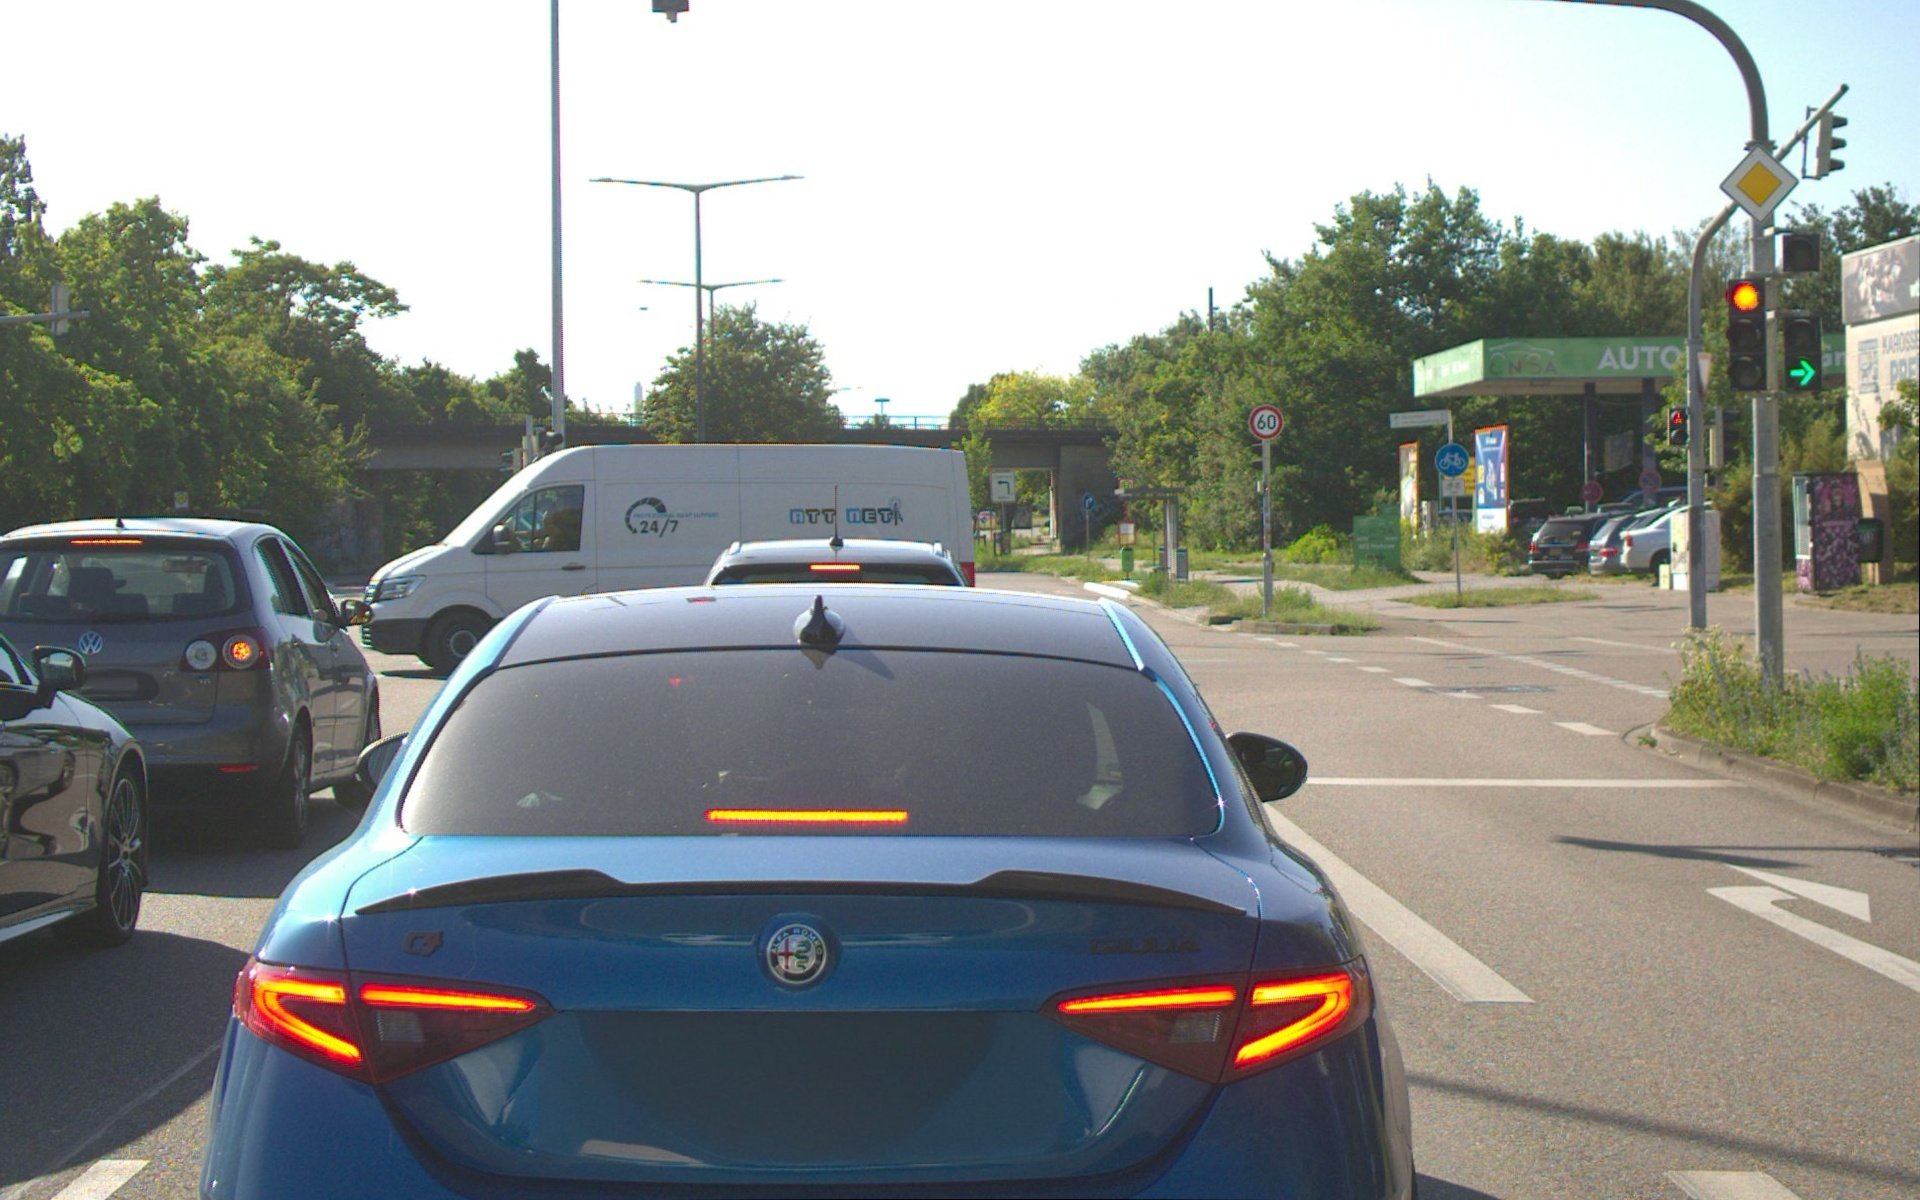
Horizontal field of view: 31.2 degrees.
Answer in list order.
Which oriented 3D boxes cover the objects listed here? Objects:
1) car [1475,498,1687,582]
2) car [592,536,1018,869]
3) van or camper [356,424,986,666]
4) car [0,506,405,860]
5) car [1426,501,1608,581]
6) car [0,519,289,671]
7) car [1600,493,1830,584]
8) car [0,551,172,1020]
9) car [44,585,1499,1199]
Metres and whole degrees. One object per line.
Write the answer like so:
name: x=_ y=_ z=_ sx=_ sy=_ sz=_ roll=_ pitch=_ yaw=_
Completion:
car: x=12.808 y=-1.240 z=70.945 sx=3.986 sy=1.700 sz=1.696 roll=-1 pitch=1 yaw=-19
car: x=-0.705 y=0.416 z=17.060 sx=1.866 sy=1.445 sz=3.932 roll=0 pitch=1 yaw=-1
van or camper: x=-3.247 y=-0.637 z=38.246 sx=6.730 sy=2.563 sz=2.186 roll=-1 pitch=1 yaw=-13
car: x=-3.955 y=0.335 z=17.526 sx=1.648 sy=1.593 sz=3.932 roll=0 pitch=1 yaw=-1
car: x=12.007 y=-1.278 z=74.136 sx=3.483 sy=1.700 sz=1.696 roll=-1 pitch=1 yaw=-16
car: x=-10.082 y=-0.081 z=38.745 sx=4.598 sy=1.647 sz=2.000 roll=-1 pitch=1 yaw=-24
car: x=14.499 y=-1.187 z=66.090 sx=3.986 sy=1.700 sz=1.696 roll=-1 pitch=1 yaw=-16
car: x=-3.811 y=0.575 z=10.621 sx=1.768 sy=1.409 sz=4.461 roll=0 pitch=1 yaw=-1
car: x=-0.266 y=0.700 z=6.390 sx=1.866 sy=1.380 sz=3.932 roll=0 pitch=1 yaw=-1
